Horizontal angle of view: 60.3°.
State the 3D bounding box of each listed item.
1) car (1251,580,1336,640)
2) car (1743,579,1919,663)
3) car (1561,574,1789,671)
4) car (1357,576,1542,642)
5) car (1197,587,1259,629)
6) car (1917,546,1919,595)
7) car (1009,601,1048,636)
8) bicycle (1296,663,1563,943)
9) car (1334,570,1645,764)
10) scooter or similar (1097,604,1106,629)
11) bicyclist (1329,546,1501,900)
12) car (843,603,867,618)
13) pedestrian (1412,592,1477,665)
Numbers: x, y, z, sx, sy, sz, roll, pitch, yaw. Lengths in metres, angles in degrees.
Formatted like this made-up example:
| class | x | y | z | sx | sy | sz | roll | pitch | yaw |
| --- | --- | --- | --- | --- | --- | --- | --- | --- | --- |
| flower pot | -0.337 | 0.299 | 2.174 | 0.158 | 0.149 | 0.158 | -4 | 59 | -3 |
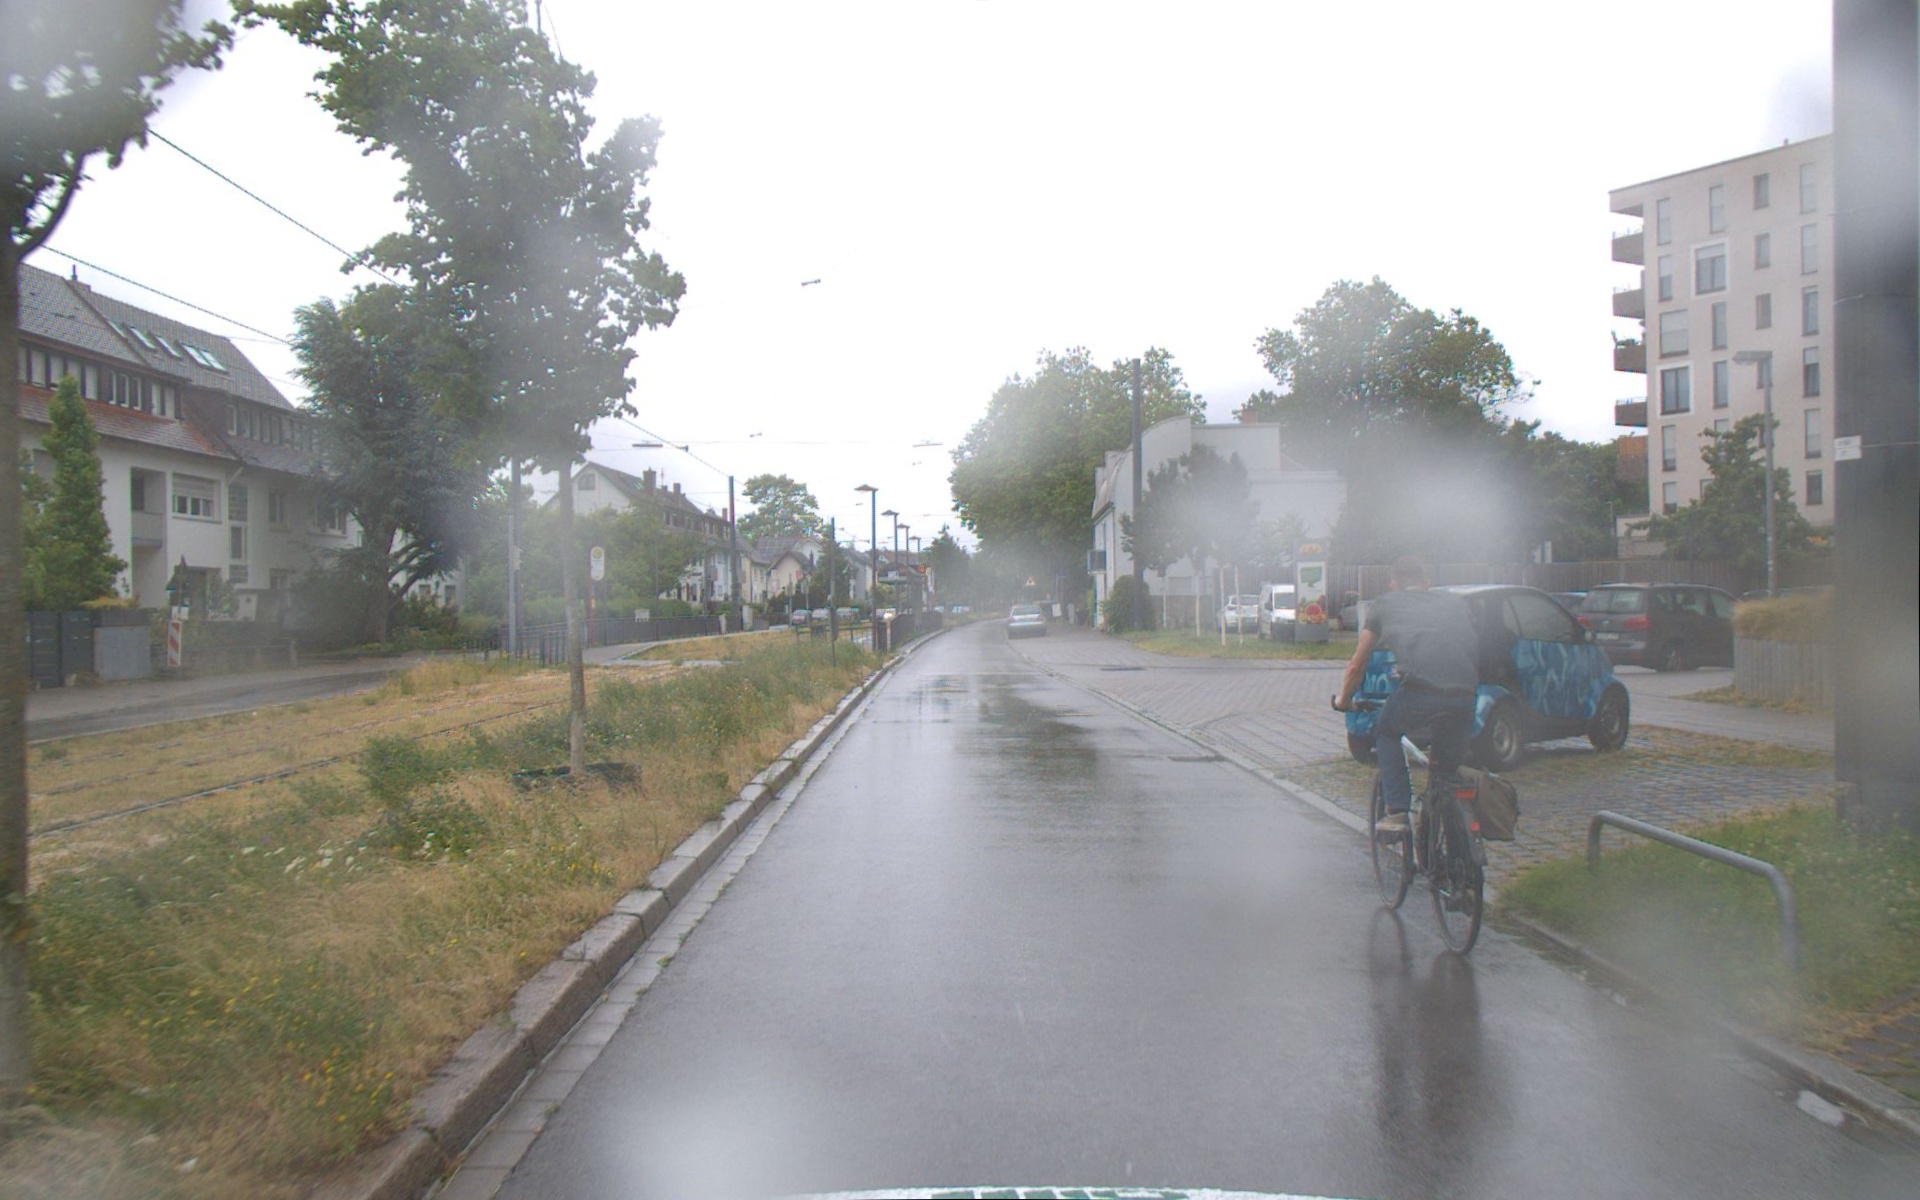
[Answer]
| class | x | y | z | sx | sy | sz | roll | pitch | yaw |
| --- | --- | --- | --- | --- | --- | --- | --- | --- | --- |
| car | 10.524 | 0.291 | 52.502 | 1.922 | 1.815 | 4.899 | 0 | 0 | 2 |
| car | 17.507 | 0.399 | 32.635 | 4.058 | 1.560 | 1.796 | 0 | 0 | -31 |
| car | 12.976 | 0.388 | 29.958 | 4.058 | 1.645 | 1.796 | 0 | 0 | -31 |
| car | 11.394 | 0.233 | 38.742 | 1.971 | 1.466 | 3.963 | 0 | -1 | -28 |
| car | 10.519 | 0.290 | 65.260 | 1.922 | 1.561 | 4.365 | 0 | 0 | 3 |
| car | 4.997 | 0.472 | 5.625 | 4.150 | 1.574 | 1.739 | -5 | 2 | -41 |
| car | 3.116 | 0.861 | 75.764 | 1.616 | 1.430 | 4.650 | -4 | -1 | 2 |
| bicycle | 2.146 | 0.876 | 7.829 | 0.526 | 1.112 | 1.946 | 0 | -1 | -6 |
| car | 4.825 | 0.555 | 15.009 | 2.542 | 1.575 | 1.579 | -1 | -1 | -41 |
| scooter or similar | 6.365 | 0.763 | 74.383 | 0.326 | 1.104 | 1.396 | 0 | -1 | 6 |
| bicyclist | 2.137 | 0.555 | 7.836 | 0.524 | 1.587 | 0.771 | 0 | -1 | -7 |
| car | -10.620 | 1.072 | 168.209 | 1.888 | 1.512 | 4.002 | 0 | -1 | 4 |
| pedestrian | 10.451 | 0.617 | 35.688 | 0.826 | 1.544 | 1.084 | 0 | -1 | -30 |
